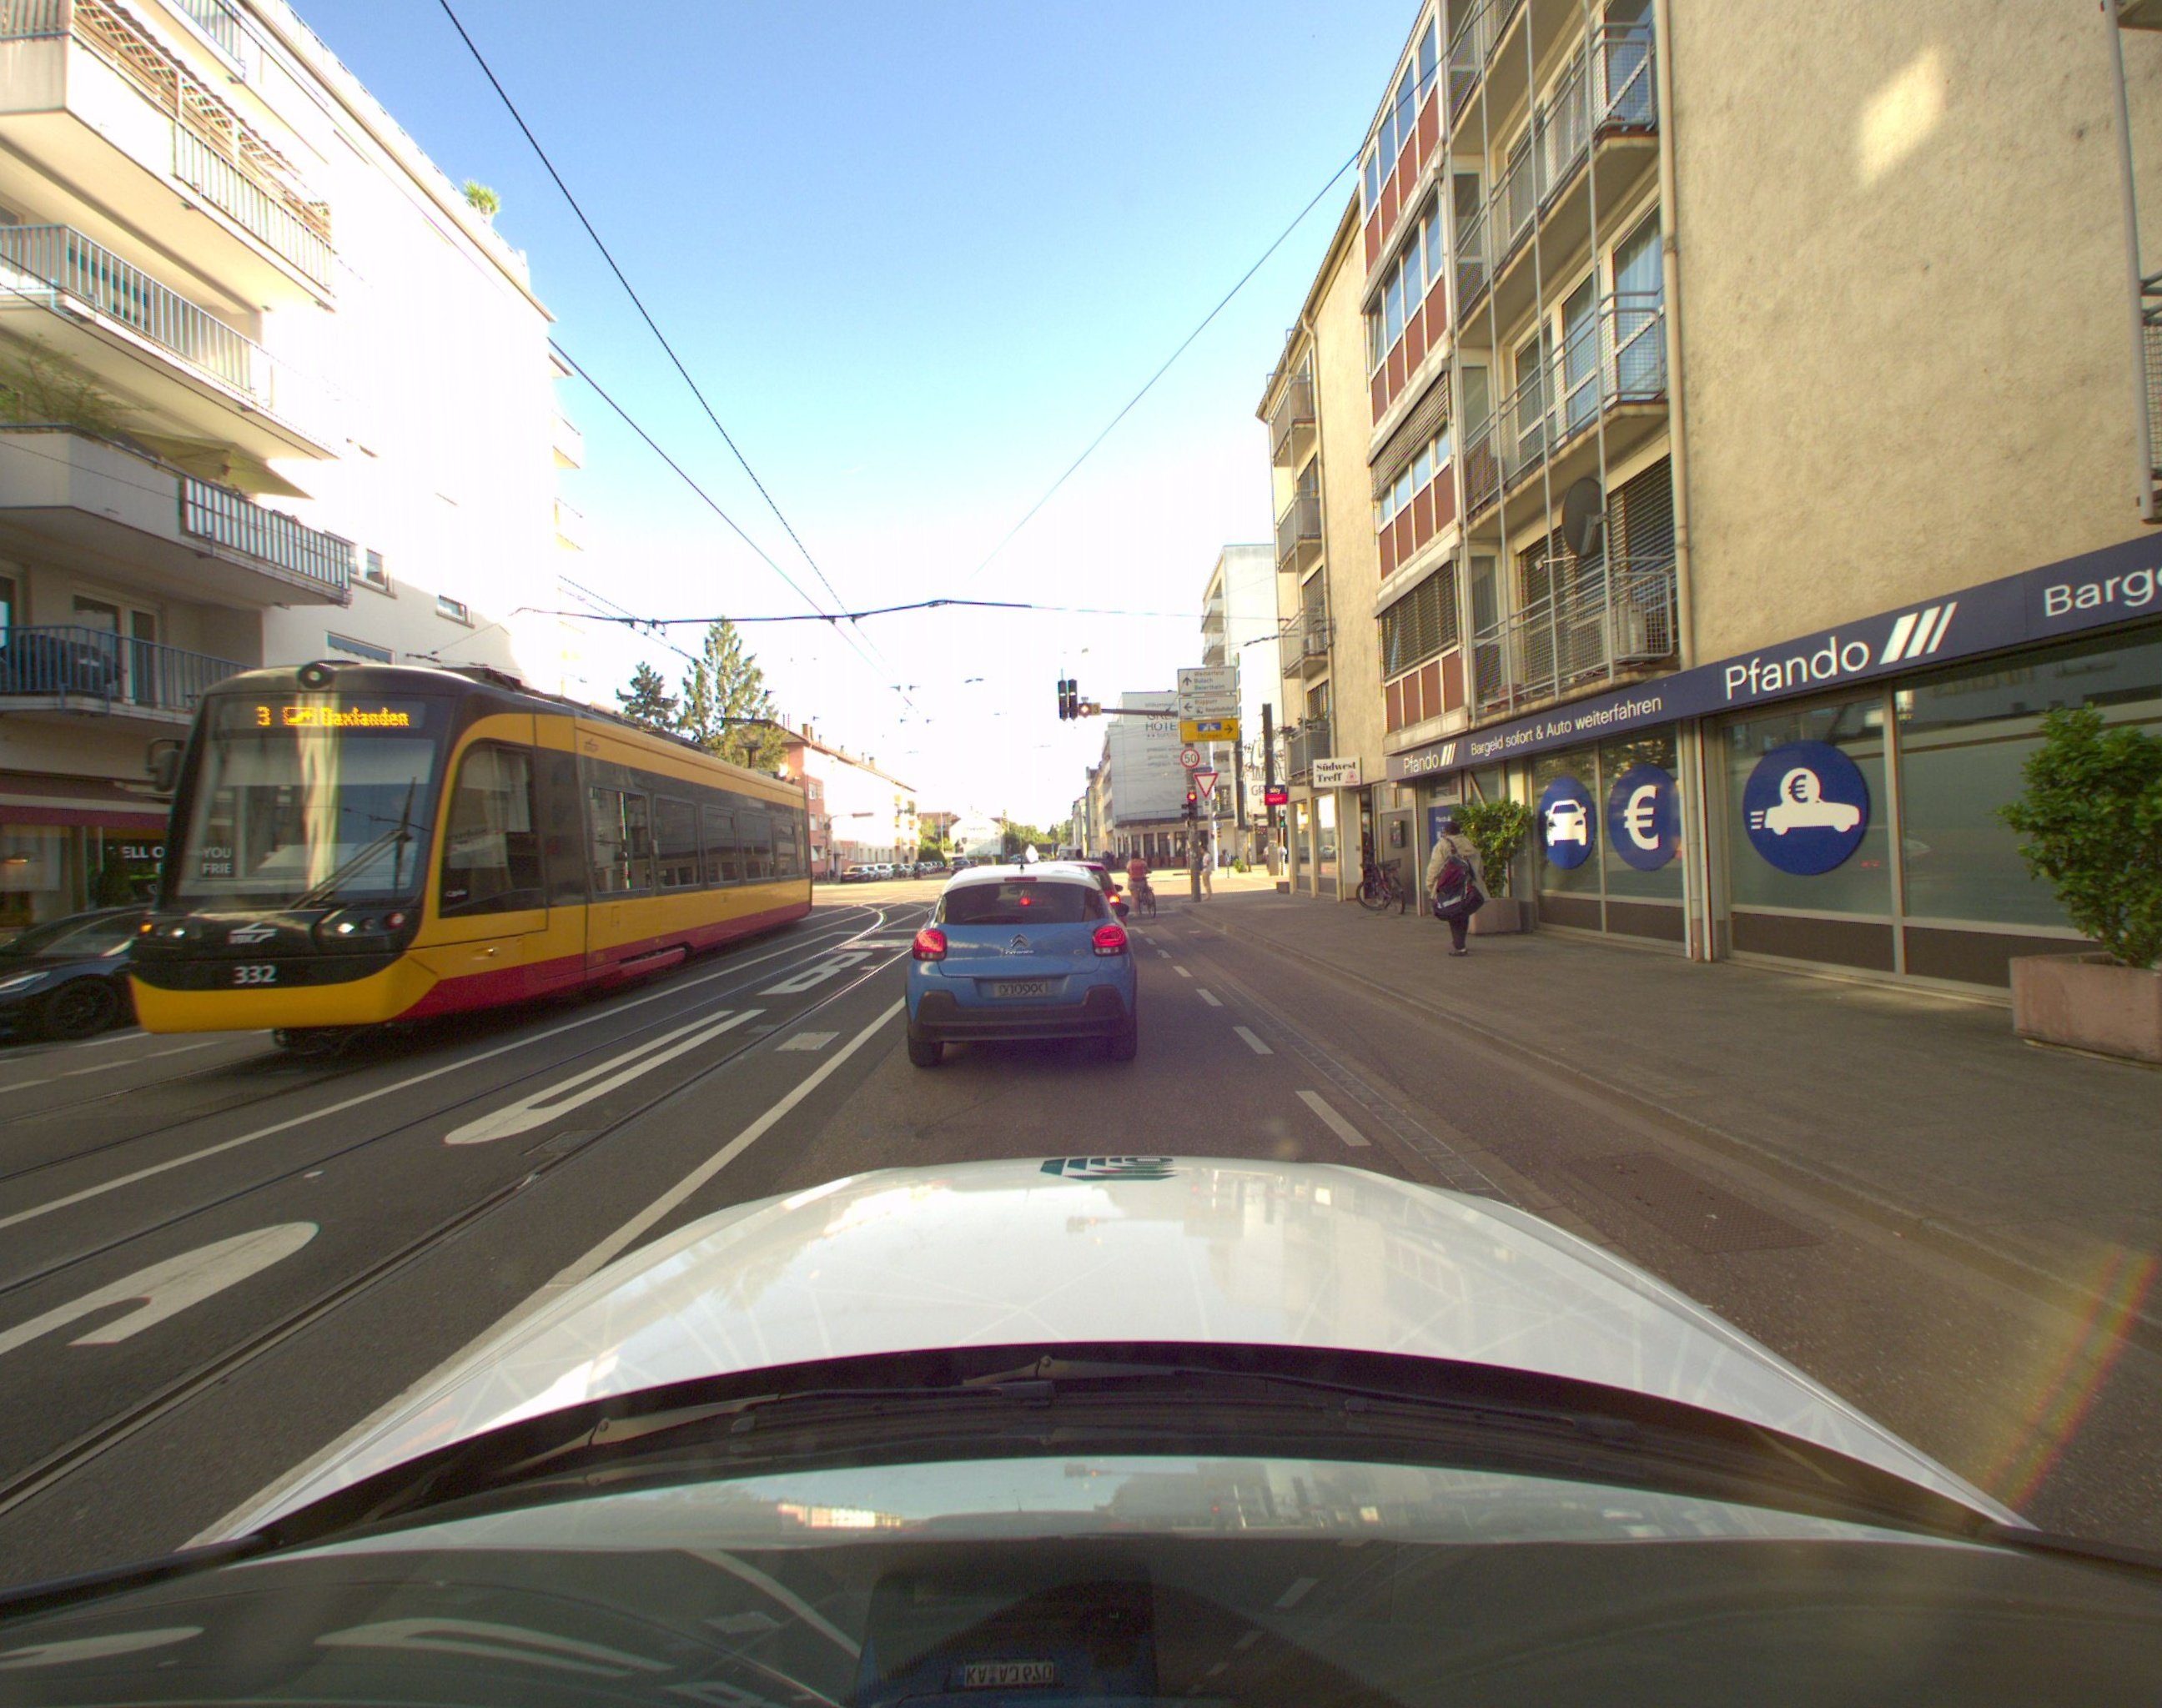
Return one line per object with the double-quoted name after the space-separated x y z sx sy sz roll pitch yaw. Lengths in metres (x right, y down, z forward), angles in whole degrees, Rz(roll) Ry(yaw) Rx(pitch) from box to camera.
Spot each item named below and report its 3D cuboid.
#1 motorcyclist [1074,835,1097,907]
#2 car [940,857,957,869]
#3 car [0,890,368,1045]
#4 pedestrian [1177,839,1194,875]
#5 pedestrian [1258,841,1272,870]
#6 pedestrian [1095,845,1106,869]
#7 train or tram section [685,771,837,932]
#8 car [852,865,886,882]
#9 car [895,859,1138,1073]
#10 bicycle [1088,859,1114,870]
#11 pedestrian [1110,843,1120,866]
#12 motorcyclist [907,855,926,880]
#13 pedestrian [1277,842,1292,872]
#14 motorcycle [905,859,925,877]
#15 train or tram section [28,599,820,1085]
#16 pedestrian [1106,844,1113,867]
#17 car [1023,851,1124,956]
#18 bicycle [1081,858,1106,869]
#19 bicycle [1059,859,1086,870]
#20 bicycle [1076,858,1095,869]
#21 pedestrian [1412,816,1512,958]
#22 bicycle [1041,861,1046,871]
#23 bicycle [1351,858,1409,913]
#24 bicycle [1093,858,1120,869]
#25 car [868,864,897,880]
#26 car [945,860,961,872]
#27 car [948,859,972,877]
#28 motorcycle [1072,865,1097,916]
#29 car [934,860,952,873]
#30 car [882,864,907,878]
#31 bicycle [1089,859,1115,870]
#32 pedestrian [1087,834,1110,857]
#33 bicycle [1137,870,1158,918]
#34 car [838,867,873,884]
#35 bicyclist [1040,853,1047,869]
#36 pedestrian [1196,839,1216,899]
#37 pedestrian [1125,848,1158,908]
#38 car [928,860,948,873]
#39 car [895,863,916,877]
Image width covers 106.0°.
0.116 0.404 19.770 0.524 1.716 0.717 0 -1 2 "motorcyclist"
-19.076 1.321 117.301 1.828 1.687 3.998 0 -1 -1 "car"
-12.011 1.289 10.468 1.816 1.387 4.425 -2 0 -2 "car"
6.014 0.174 46.968 0.922 2.014 0.760 0 -1 1 "pedestrian"
10.574 0.090 46.791 0.730 1.601 0.751 -1 -1 15 "pedestrian"
1.633 0.250 69.315 0.635 2.014 0.717 0 -1 -34 "pedestrian"
-8.663 -0.040 23.197 2.829 3.631 9.041 0 0 -14 "train or tram section"
-19.413 1.781 74.711 1.808 1.498 4.302 0 0 2 "car"
-0.383 0.777 7.301 1.648 1.444 3.524 0 -1 2 "car"
1.633 0.882 67.746 2.130 0.901 0.366 0 -1 -7 "bicycle"
2.936 0.065 70.983 0.710 2.014 0.756 0 -1 -12 "pedestrian"
-13.686 1.128 67.750 1.182 2.013 1.275 -2 0 -1 "motorcyclist"
11.574 0.169 46.340 0.746 1.657 0.887 -1 -1 18 "pedestrian"
-13.726 1.125 67.399 0.921 1.486 3.724 0 -1 -1 "motorcycle"
-6.918 -0.118 12.469 3.059 3.593 12.600 -2 0 -7 "train or tram section"
2.486 0.143 70.299 0.575 2.014 0.625 0 -1 -1 "pedestrian"
-0.065 0.734 13.347 1.419 1.467 2.925 -2 -1 2 "car"
1.052 0.819 68.495 2.130 0.901 0.366 0 -1 -7 "bicycle"
-0.711 0.876 66.427 2.130 0.901 0.366 0 -1 -7 "bicycle"
0.387 0.821 69.604 1.765 0.901 0.369 -1 -1 36 "bicycle"
4.456 0.377 9.564 0.822 1.593 0.751 0 -1 1 "pedestrian"
-3.427 1.055 73.855 0.347 0.903 1.859 0 -1 0 "bicycle"
5.748 0.576 15.747 0.540 0.998 1.706 0 -1 2 "bicycle"
2.053 0.768 66.077 2.130 0.901 0.366 0 -1 -7 "bicycle"
-19.453 1.735 79.874 1.781 1.511 4.150 0 0 1 "car"
-19.141 1.754 121.893 1.841 1.687 3.872 0 -1 -1 "car"
-11.365 1.337 76.836 1.770 1.666 3.854 0 -1 -2 "car"
0.109 0.838 19.579 0.524 1.139 2.290 0 -1 2 "motorcycle"
-18.859 1.670 111.737 1.877 1.687 3.998 0 -1 -1 "car"
-19.795 1.793 86.686 1.781 1.498 3.998 0 -1 -1 "car"
1.721 0.866 67.313 2.130 0.901 0.366 0 -1 -7 "bicycle"
1.632 -0.728 73.711 1.986 2.014 4.001 0 -1 2 "pedestrian"
1.682 0.977 20.619 0.426 1.123 1.999 0 -1 2 "bicycle"
-19.195 1.806 69.441 1.787 1.421 3.996 0 0 1 "car"
-3.435 0.644 74.058 0.559 1.477 0.748 0 -1 1 "bicyclist"
3.740 0.443 24.364 0.515 1.783 0.595 0 -1 0 "pedestrian"
1.500 0.591 20.339 0.774 1.460 0.682 0 -1 1 "pedestrian"
-18.751 1.666 106.939 1.978 1.687 3.998 0 -1 -1 "car"
-19.959 1.841 92.762 1.728 1.498 3.996 0 -1 -2 "car"
